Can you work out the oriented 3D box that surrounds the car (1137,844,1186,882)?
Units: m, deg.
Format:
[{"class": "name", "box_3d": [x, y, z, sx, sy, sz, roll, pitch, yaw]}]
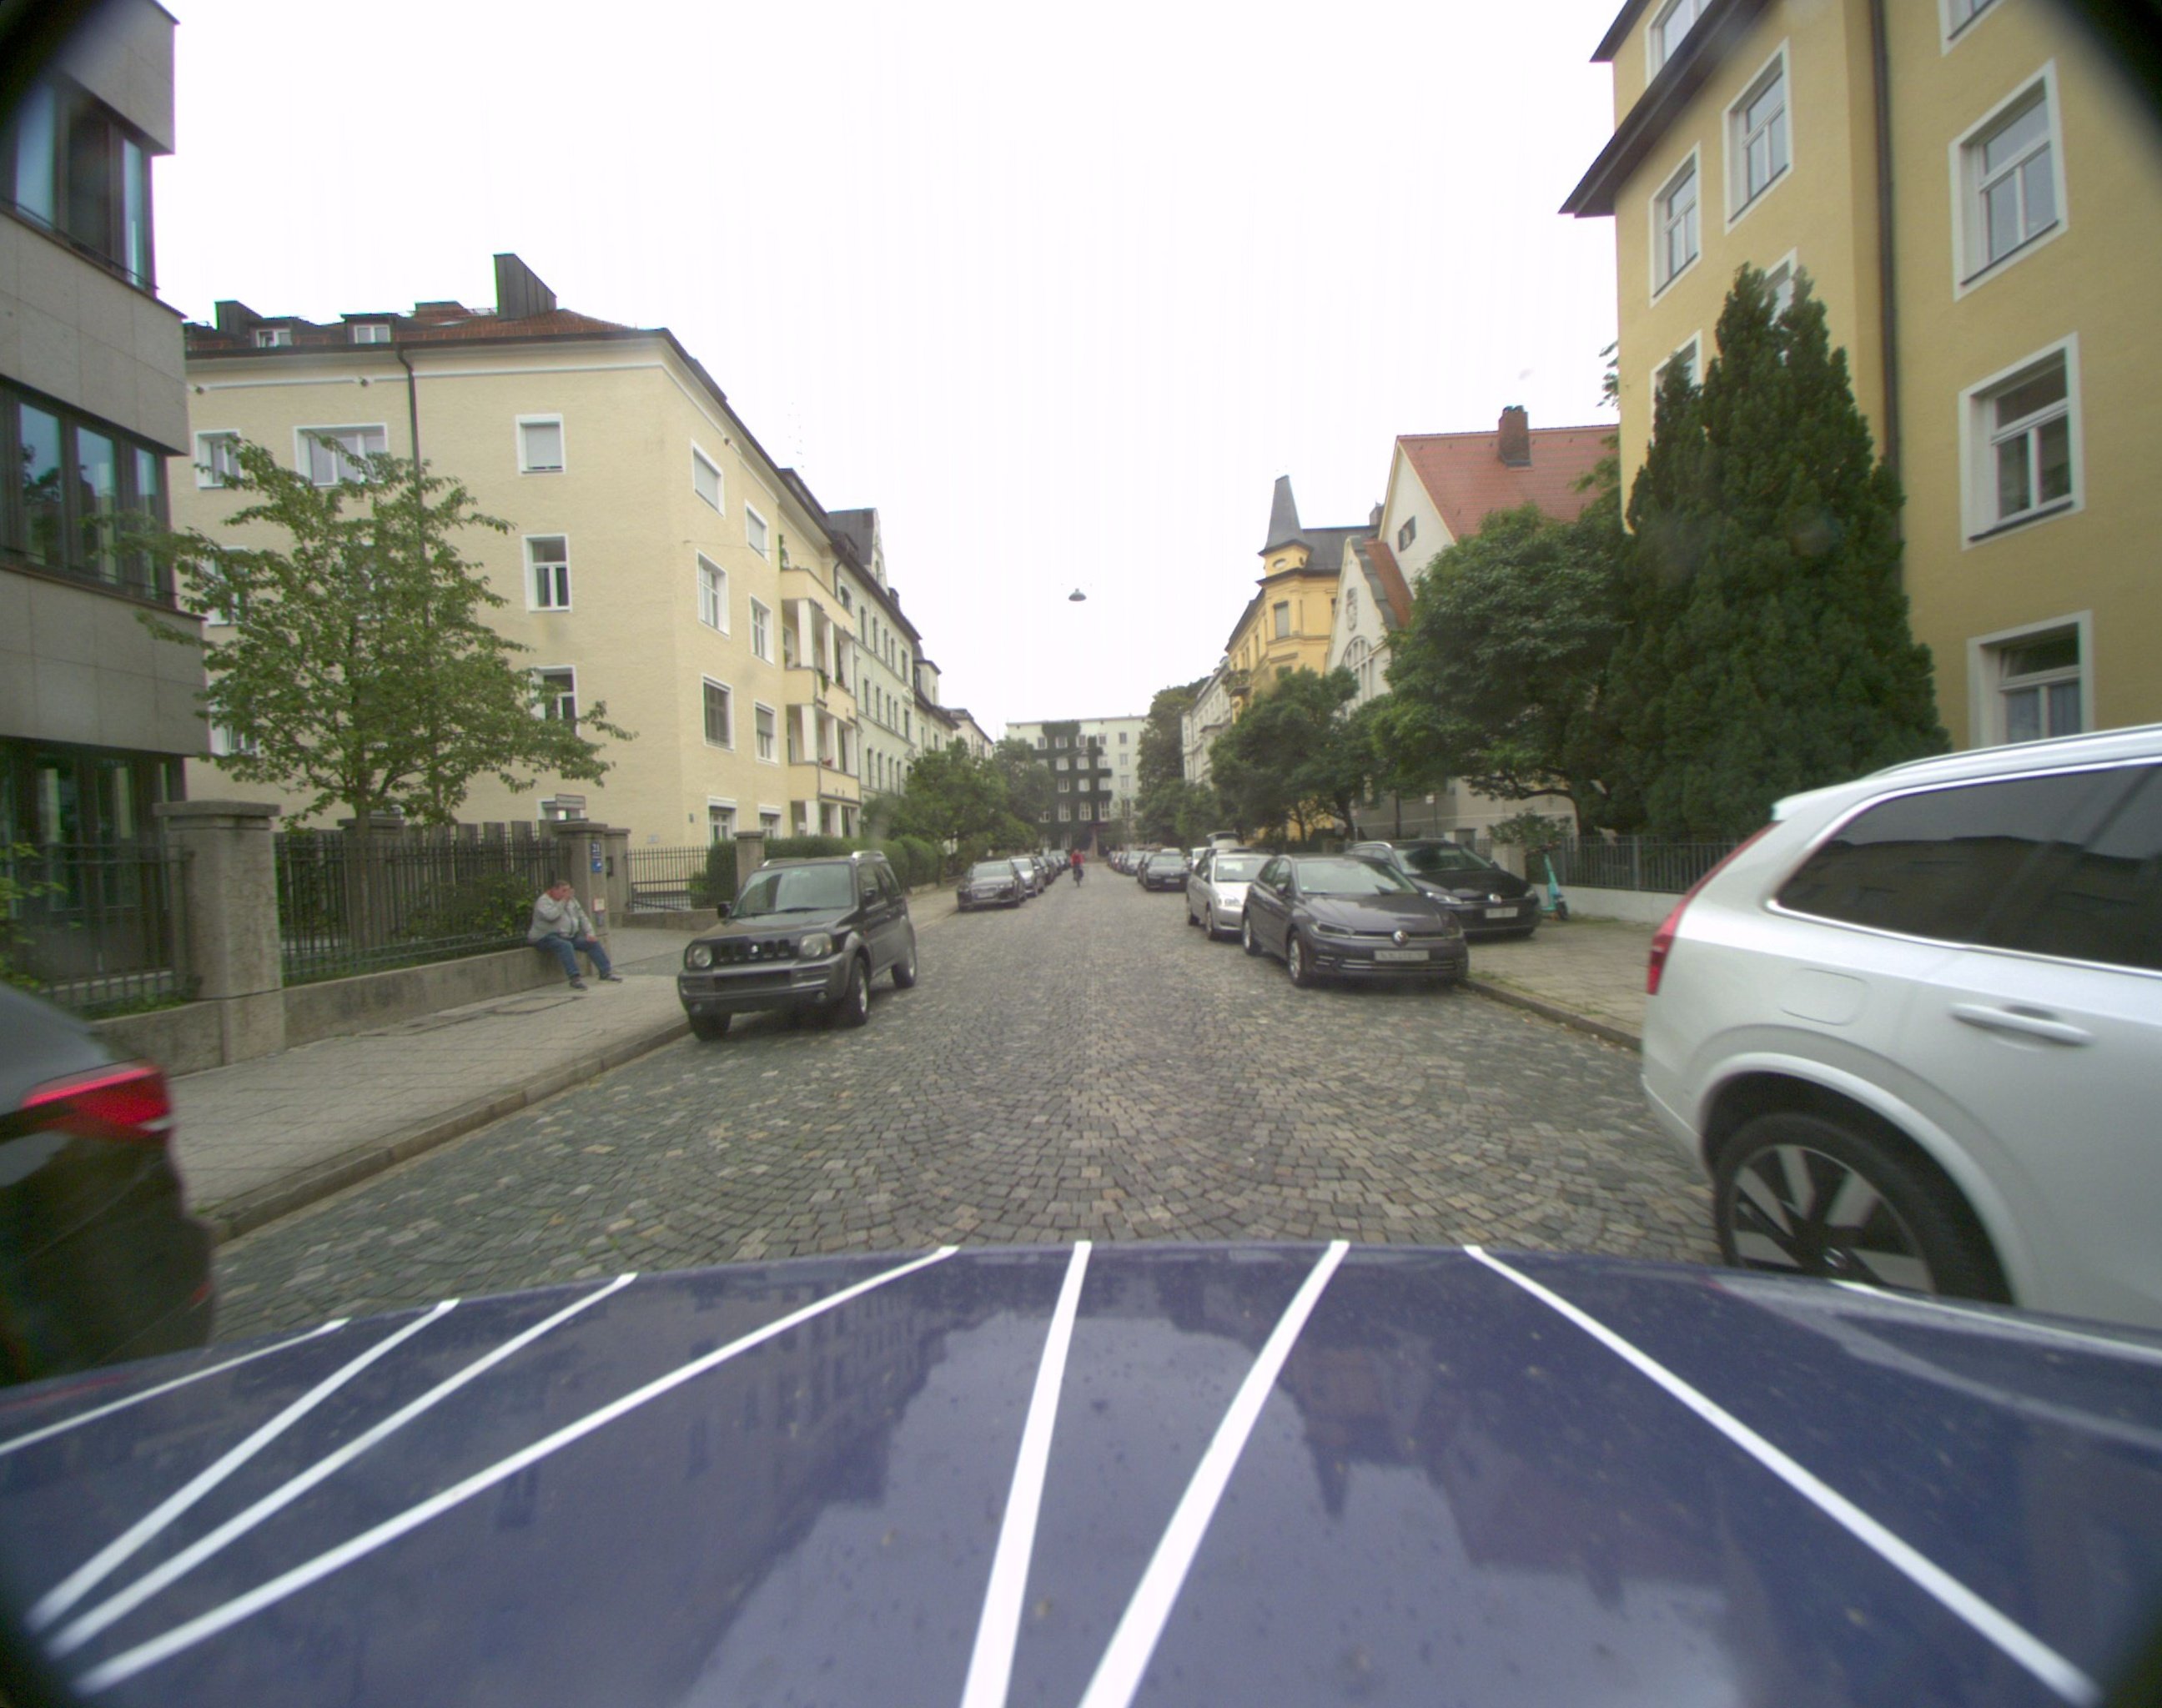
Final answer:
[{"class": "car", "box_3d": [3.590, 0.352, 34.613, 1.744, 1.594, 4.536, -2, 1, 0]}]

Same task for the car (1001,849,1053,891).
[{"class": "car", "box_3d": [-2.385, 0.678, 34.596, 1.898, 1.644, 4.293, -4, 1, 1]}]

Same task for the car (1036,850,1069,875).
[{"class": "car", "box_3d": [-2.048, 0.591, 55.854, 1.909, 1.494, 5.105, -6, 1, 2]}]

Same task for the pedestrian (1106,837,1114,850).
[{"class": "pedestrian", "box_3d": [4.279, -1.527, 113.361, 0.703, 1.905, 0.861, -6, 2, -30]}]

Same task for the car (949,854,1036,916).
[{"class": "car", "box_3d": [-2.702, 0.902, 24.442, 1.998, 1.543, 5.014, -5, 1, 1]}]

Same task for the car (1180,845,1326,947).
[{"class": "car", "box_3d": [2.926, 0.619, 13.884, 1.718, 1.553, 4.390, -1, 1, 1]}]

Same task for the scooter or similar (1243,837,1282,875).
[{"class": "scooter or similar", "box_3d": [7.874, 0.064, 33.085, 1.064, 1.514, 2.634, -3, 1, 1]}]

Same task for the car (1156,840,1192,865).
[{"class": "car", "box_3d": [6.192, -0.111, 51.034, 1.846, 1.457, 4.389, -4, 1, 1]}]

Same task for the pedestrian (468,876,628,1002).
[{"class": "pedestrian", "box_3d": [-6.833, 1.061, 9.818, 1.219, 1.484, 1.129, 0, 1, 3]}]

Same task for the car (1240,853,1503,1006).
[{"class": "car", "box_3d": [3.195, 0.720, 9.233, 1.734, 1.410, 3.936, -1, 1, 1]}]

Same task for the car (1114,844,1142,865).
[{"class": "car", "box_3d": [3.666, 0.022, 59.717, 1.846, 1.577, 4.191, -2, 1, 0]}]

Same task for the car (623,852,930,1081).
[{"class": "car", "box_3d": [-2.921, 0.934, 8.278, 1.622, 1.741, 3.886, -6, 1, 0]}]

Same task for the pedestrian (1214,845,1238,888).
[{"class": "pedestrian", "box_3d": [5.674, 0.477, 29.727, 0.767, 1.640, 0.582, -4, 1, 2]}]

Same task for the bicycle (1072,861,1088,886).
[{"class": "bicycle", "box_3d": [-0.044, 0.857, 33.848, 0.636, 1.021, 1.955, -4, 1, 0]}]

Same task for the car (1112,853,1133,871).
[{"class": "car", "box_3d": [3.865, 0.720, 70.421, 1.814, 1.490, 4.510, -2, 1, 3]}]

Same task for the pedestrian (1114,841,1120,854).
[{"class": "pedestrian", "box_3d": [5.345, -0.999, 113.652, 0.701, 1.905, 0.862, -5, 2, 4]}]

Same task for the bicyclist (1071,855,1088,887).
[{"class": "bicyclist", "box_3d": [-0.050, 0.758, 33.795, 0.648, 1.351, 0.656, -4, 2, 0]}]

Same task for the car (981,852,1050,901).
[{"class": "car", "box_3d": [-2.457, 0.788, 29.656, 1.998, 1.543, 4.985, -5, 1, 2]}]

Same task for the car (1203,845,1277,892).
[{"class": "car", "box_3d": [5.645, 0.466, 27.518, 1.780, 1.408, 4.561, -4, 1, 2]}]

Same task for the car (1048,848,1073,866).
[{"class": "car", "box_3d": [-1.882, 0.232, 71.171, 1.942, 1.457, 4.532, -5, 1, 3]}]

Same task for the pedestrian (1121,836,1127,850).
[{"class": "pedestrian", "box_3d": [6.473, -1.644, 113.471, 0.665, 1.905, 0.863, -4, 2, 9]}]

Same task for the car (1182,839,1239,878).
[{"class": "car", "box_3d": [5.843, 0.169, 34.668, 1.744, 1.527, 4.466, -4, 1, 0]}]

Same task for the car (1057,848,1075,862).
[{"class": "car", "box_3d": [-1.584, 0.132, 81.903, 1.744, 1.367, 4.181, -2, 1, 1]}]

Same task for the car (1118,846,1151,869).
[{"class": "car", "box_3d": [3.748, 0.226, 53.935, 1.875, 1.462, 5.132, -2, 1, -1]}]

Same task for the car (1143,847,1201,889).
[{"class": "car", "box_3d": [3.466, 0.485, 29.602, 1.819, 1.447, 4.912, 0, 1, 2]}]

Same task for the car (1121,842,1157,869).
[{"class": "car", "box_3d": [3.574, 0.076, 47.758, 1.744, 1.577, 4.190, -2, 1, -2]}]

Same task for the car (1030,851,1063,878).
[{"class": "car", "box_3d": [-2.215, 0.646, 50.186, 1.760, 1.451, 4.480, -5, 1, 2]}]

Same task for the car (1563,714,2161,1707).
[{"class": "car", "box_3d": [2.909, 0.642, 0.511, 2.011, 1.798, 5.174, -1, 1, 2]}]

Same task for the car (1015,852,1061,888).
[{"class": "car", "box_3d": [-2.181, 0.781, 39.800, 1.823, 1.480, 5.049, -6, 1, 2]}]

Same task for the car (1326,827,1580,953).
[{"class": "car", "box_3d": [5.562, 0.439, 12.167, 1.719, 1.489, 4.721, -5, 1, 1]}]

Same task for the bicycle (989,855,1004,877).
[{"class": "bicycle", "box_3d": [-4.850, 0.677, 43.703, 0.582, 1.188, 1.646, -4, 1, -13]}]

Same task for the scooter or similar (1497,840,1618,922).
[{"class": "scooter or similar", "box_3d": [7.781, 0.411, 12.506, 0.958, 1.193, 1.522, -5, 1, 1]}]
